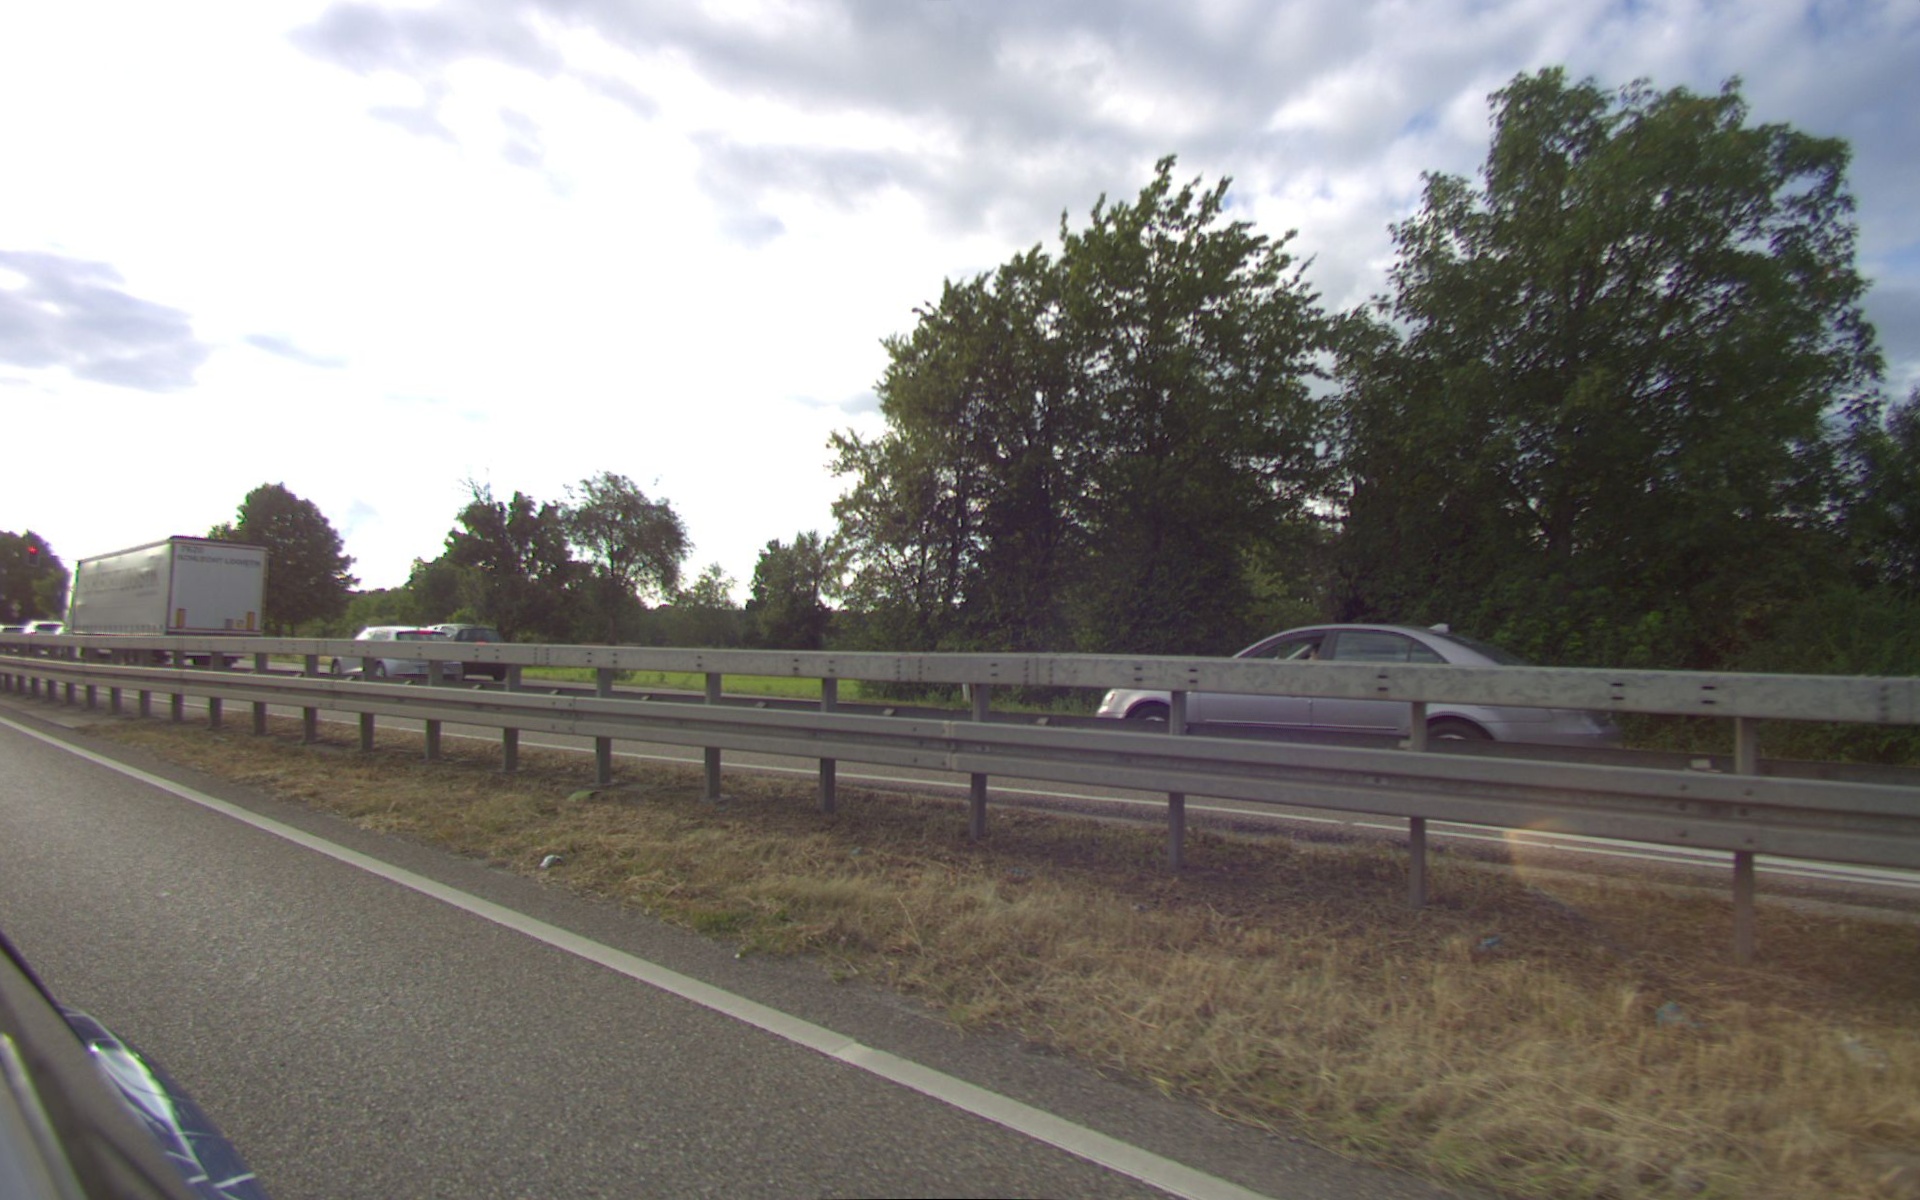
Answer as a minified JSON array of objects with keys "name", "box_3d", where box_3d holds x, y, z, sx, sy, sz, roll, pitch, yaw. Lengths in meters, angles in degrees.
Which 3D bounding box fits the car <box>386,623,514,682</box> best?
[{"name":"car","box_3d":[-14.810,1.498,29.313,4.156,1.585,1.771,-1,-3,39]}]

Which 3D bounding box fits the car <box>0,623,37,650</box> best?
[{"name":"car","box_3d":[-53.582,2.046,56.794,5.147,1.439,1.888,-1,-3,39]}]

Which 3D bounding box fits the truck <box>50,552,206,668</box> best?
[{"name":"truck","box_3d":[-32.588,0.491,39.608,6.044,4.182,3.440,-1,-4,40]}]

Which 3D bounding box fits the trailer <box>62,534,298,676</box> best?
[{"name":"trailer","box_3d":[-27.786,0.348,35.612,13.903,4.182,3.430,-1,-4,40]}]

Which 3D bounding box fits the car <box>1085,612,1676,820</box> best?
[{"name":"car","box_3d":[3.707,0.910,9.519,4.820,1.489,1.848,-1,-3,39]}]

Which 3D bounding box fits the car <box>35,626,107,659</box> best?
[{"name":"car","box_3d":[-40.176,1.909,45.719,4.156,1.455,1.771,-1,-3,39]}]

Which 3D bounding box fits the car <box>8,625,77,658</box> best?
[{"name":"car","box_3d":[-46.240,2.084,50.975,4.400,1.622,1.888,-1,-3,39]}]

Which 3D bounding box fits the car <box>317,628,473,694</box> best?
[{"name":"car","box_3d":[-13.231,1.379,23.626,4.156,1.396,1.771,-1,-3,39]}]
